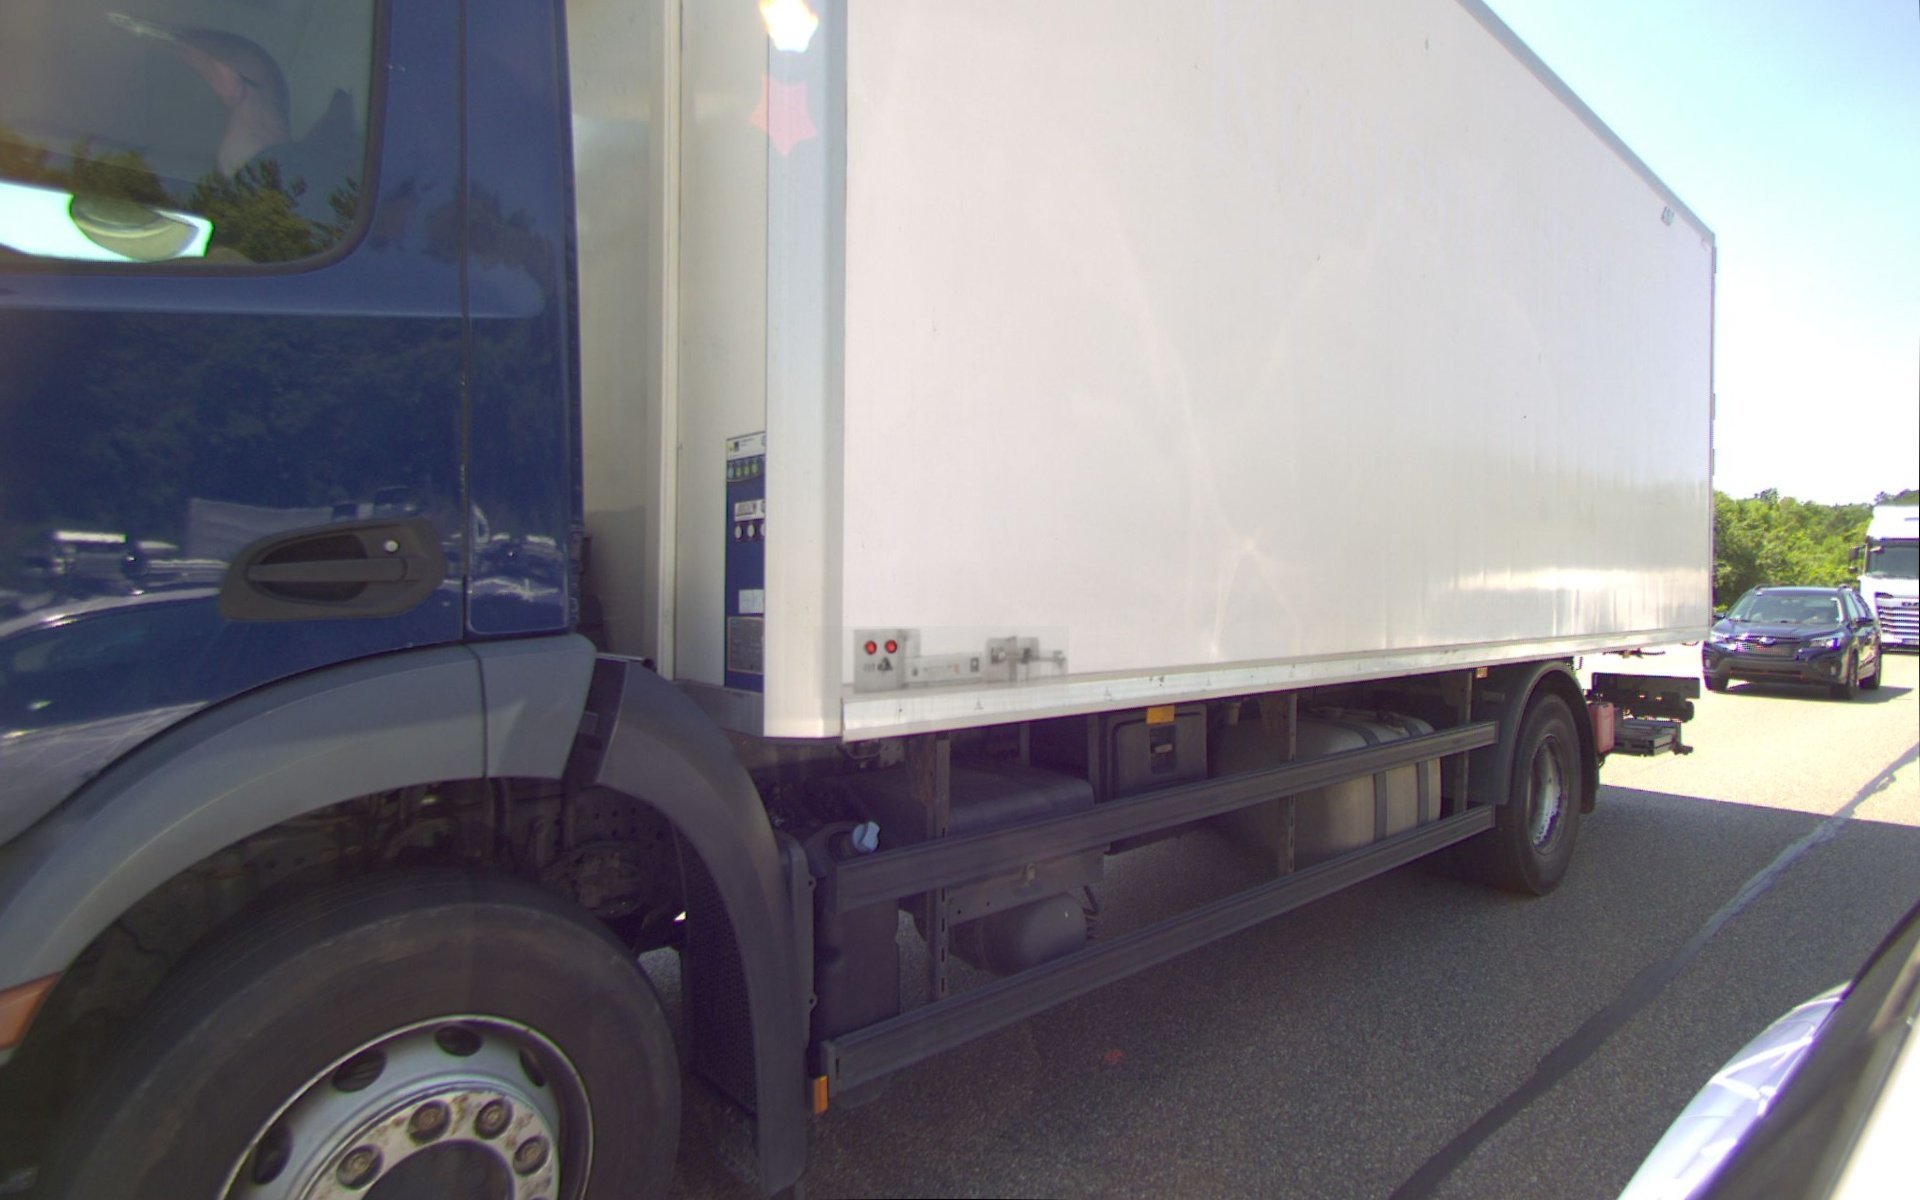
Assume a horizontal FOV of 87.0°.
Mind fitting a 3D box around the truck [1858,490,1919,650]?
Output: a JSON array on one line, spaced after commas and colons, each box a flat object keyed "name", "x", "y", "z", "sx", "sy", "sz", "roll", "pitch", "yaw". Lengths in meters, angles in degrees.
[{"name": "truck", "x": 27.718, "y": -0.844, "z": 28.462, "sx": 7.206, "sy": 4.135, "sz": 2.765, "roll": -1, "pitch": 1, "yaw": -41}]

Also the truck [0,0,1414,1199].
[{"name": "truck", "x": -0.950, "y": -0.048, "z": 2.854, "sx": 4.032, "sy": 2.977, "sz": 2.561, "roll": -1, "pitch": 2, "yaw": -40}]

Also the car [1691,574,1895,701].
[{"name": "car", "x": 13.467, "y": 0.457, "z": 16.259, "sx": 4.535, "sy": 1.713, "sz": 1.996, "roll": -1, "pitch": 3, "yaw": -44}]

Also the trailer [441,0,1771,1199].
[{"name": "trailer", "x": 1.835, "y": -0.115, "z": 5.314, "sx": 7.746, "sy": 2.935, "sz": 2.559, "roll": 0, "pitch": 1, "yaw": -42}]

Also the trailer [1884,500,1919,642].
[{"name": "trailer", "x": 32.683, "y": -0.918, "z": 32.792, "sx": 11.417, "sy": 4.133, "sz": 2.765, "roll": -1, "pitch": 3, "yaw": -42}]
